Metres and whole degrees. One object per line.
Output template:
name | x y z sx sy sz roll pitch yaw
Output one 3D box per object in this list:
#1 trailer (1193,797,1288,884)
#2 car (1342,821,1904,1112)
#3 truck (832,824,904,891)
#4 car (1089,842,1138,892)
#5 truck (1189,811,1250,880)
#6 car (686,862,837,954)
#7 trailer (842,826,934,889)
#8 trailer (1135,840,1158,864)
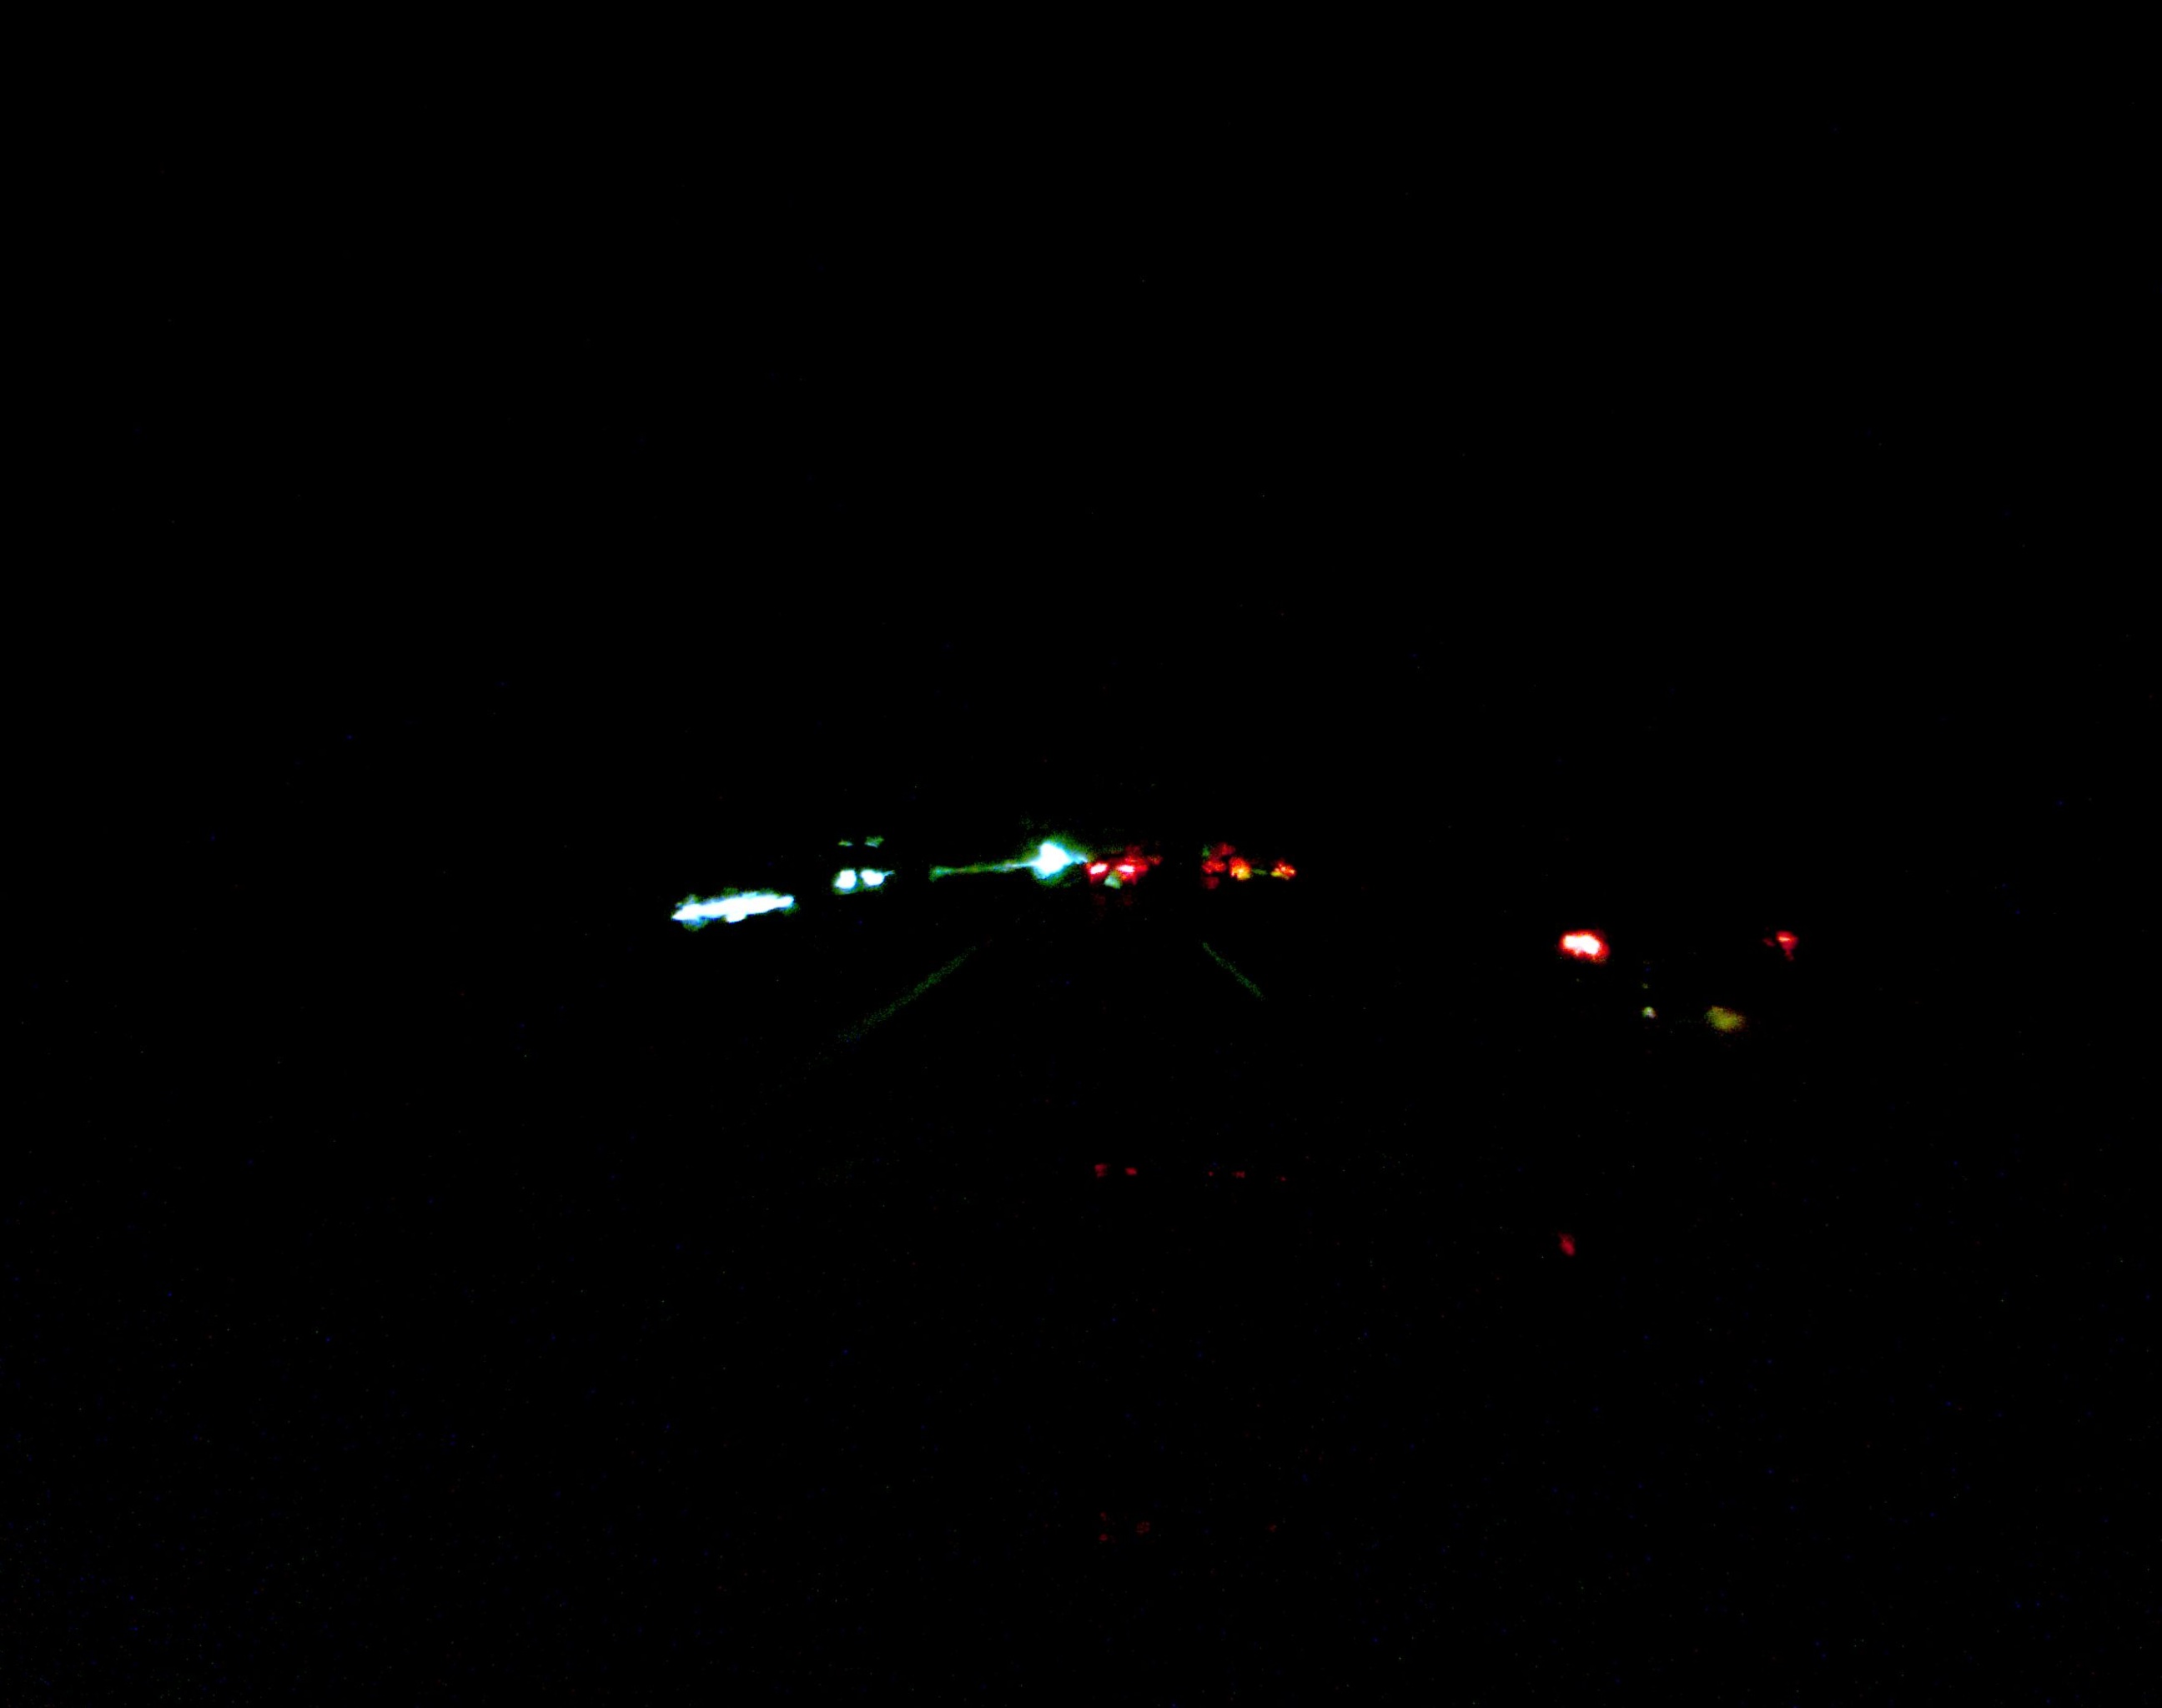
trailer | 8.770 -0.589 46.988 2.892 4.108 14.492 -3 -1 2
car | 3.738 0.658 6.789 1.734 1.575 4.495 -2 -1 1
truck | -14.776 0.251 57.143 2.962 4.268 6.507 2 0 2
car | 1.359 0.564 34.967 1.986 2.014 4.000 0 -1 1
truck | 8.972 -0.503 53.436 2.892 4.108 6.033 -3 -1 2
car | -8.155 1.291 21.300 1.986 2.013 4.453 -2 0 2
trailer | -14.596 0.292 63.392 2.962 4.268 14.868 2 0 2
trailer | 12.305 -0.267 154.158 3.031 4.109 13.826 -4 -1 0
